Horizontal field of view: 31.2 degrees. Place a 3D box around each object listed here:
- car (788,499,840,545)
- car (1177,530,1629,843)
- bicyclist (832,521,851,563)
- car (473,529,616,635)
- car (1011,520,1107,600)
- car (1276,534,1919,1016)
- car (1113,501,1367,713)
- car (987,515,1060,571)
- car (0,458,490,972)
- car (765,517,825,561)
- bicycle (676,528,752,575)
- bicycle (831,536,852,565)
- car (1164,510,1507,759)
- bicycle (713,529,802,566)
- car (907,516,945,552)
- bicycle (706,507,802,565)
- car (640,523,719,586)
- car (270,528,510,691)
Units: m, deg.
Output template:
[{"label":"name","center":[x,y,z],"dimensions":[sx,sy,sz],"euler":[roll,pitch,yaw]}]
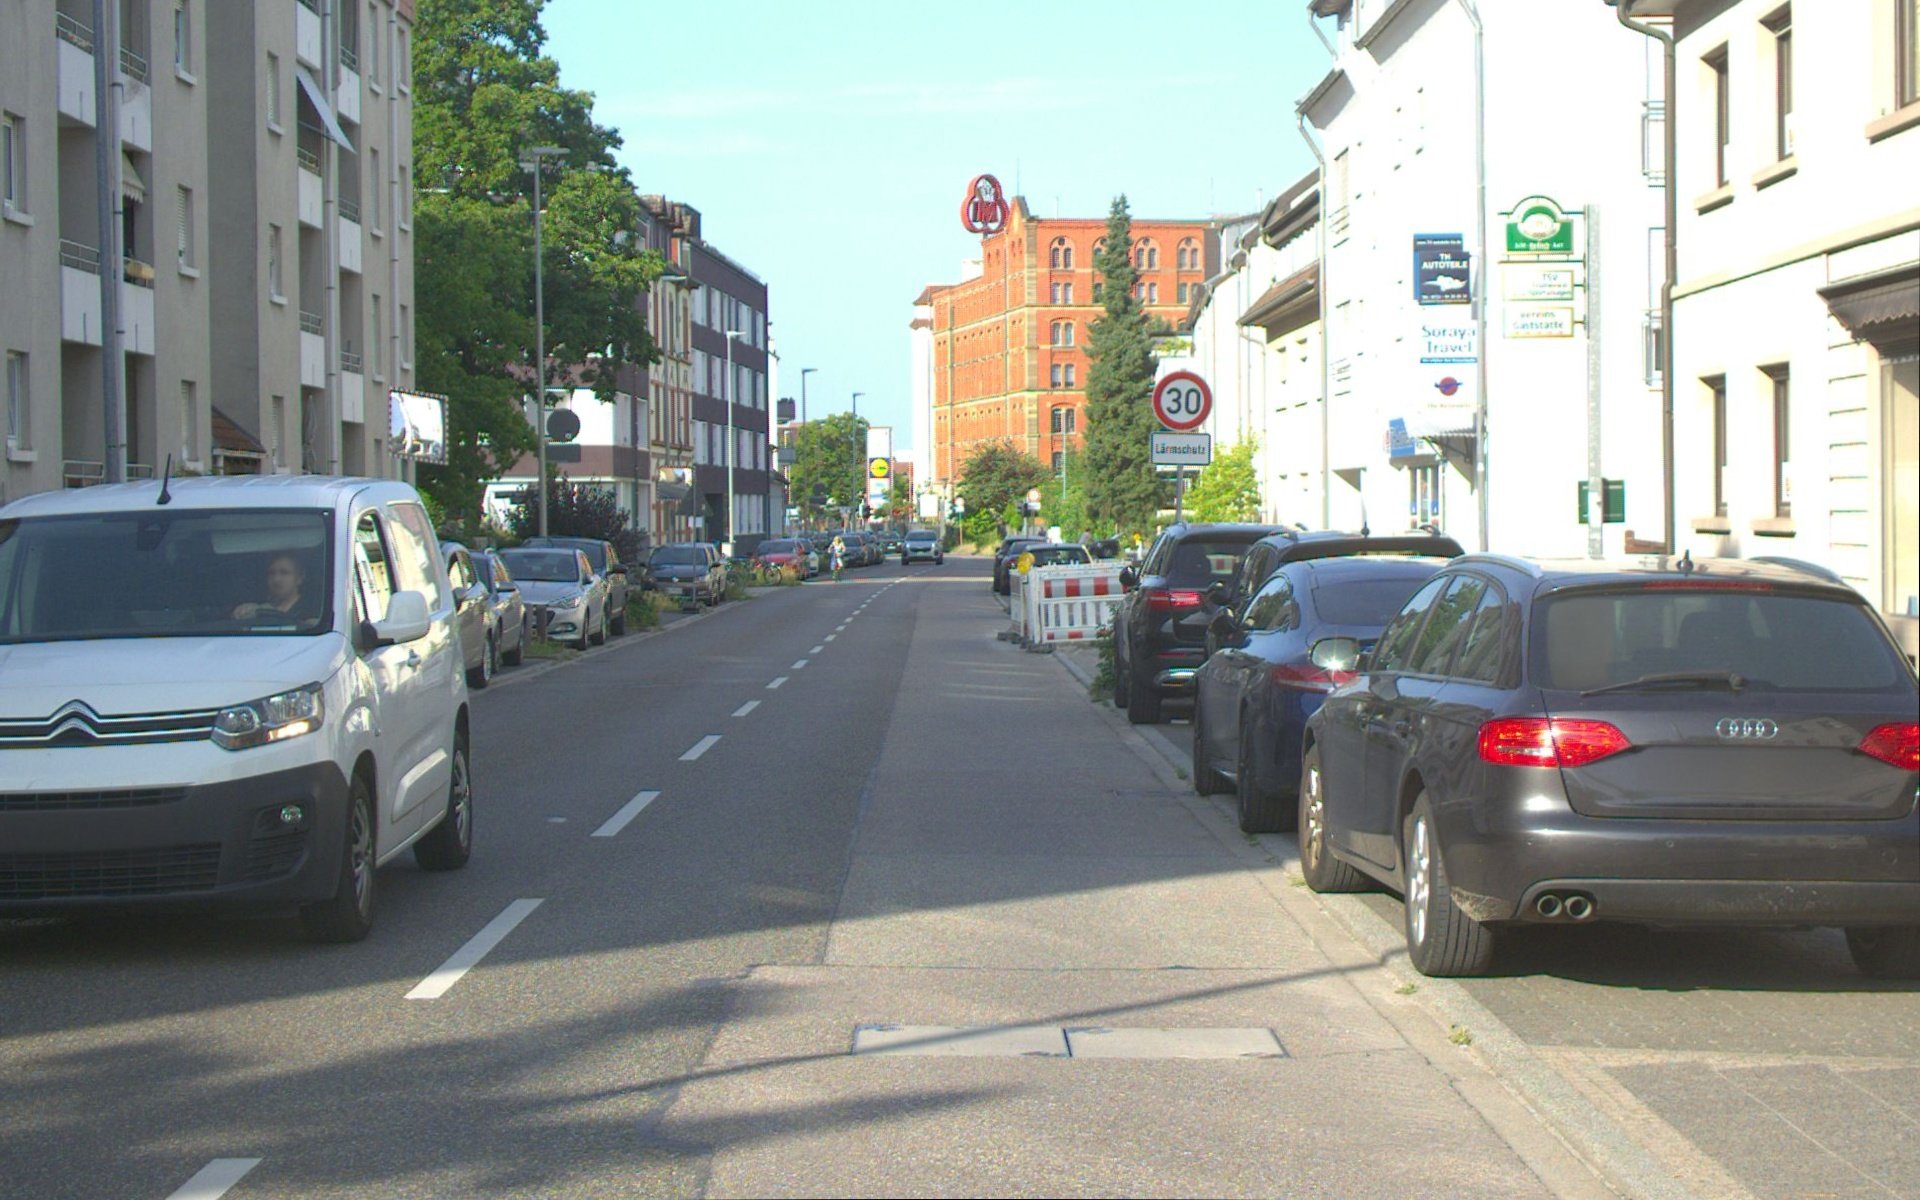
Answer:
[{"label":"car","center":[-6.137,-3.306,145.019],"dimensions":[1.993,1.875,4.000],"euler":[-1,2,0]},{"label":"car","center":[2.258,0.366,18.674],"dimensions":[1.830,1.415,4.609],"euler":[-1,2,0]},{"label":"bicyclist","center":[-4.025,-1.978,116.936],"dimensions":[0.591,1.437,0.750],"euler":[-1,1,1]},{"label":"car","center":[-6.052,-0.296,50.404],"dimensions":[1.686,1.449,4.141],"euler":[0,2,-1]},{"label":"car","center":[1.955,-0.827,68.860],"dimensions":[1.830,1.477,3.943],"euler":[-2,2,1]},{"label":"car","center":[2.336,0.497,12.878],"dimensions":[1.779,1.415,4.497],"euler":[-1,2,-1]},{"label":"car","center":[2.295,0.057,29.218],"dimensions":[1.830,1.624,4.463],"euler":[1,0,1]},{"label":"car","center":[1.688,-1.559,93.010],"dimensions":[1.859,1.467,4.000],"euler":[1,2,0]},{"label":"car","center":[-3.159,0.347,14.100],"dimensions":[1.922,1.761,4.338],"euler":[-1,2,-1]},{"label":"car","center":[-5.684,-2.122,118.590],"dimensions":[1.840,1.459,3.585],"euler":[-1,2,0]},{"label":"bicycle","center":[-6.583,-1.296,91.983],"dimensions":[2.000,1.213,0.708],"euler":[-1,1,-5]},{"label":"bicycle","center":[-4.028,-1.683,116.918],"dimensions":[0.608,0.939,1.811],"euler":[-1,1,1]},{"label":"car","center":[2.559,0.167,24.423],"dimensions":[1.830,1.554,4.318],"euler":[-2,1,-1]},{"label":"bicycle","center":[-6.504,-1.689,110.554],"dimensions":[2.773,1.140,1.143],"euler":[-1,1,1]},{"label":"car","center":[-1.594,-3.146,162.345],"dimensions":[1.763,1.610,4.000],"euler":[-2,2,0]},{"label":"bicycle","center":[-6.514,-2.031,108.773],"dimensions":[2.918,1.771,1.202],"euler":[-1,1,1]},{"label":"car","center":[-6.519,-1.075,80.104],"dimensions":[1.573,1.415,3.804],"euler":[0,2,-1]},{"label":"car","center":[-5.817,0.052,35.512],"dimensions":[1.727,1.550,3.965],"euler":[0,2,1]}]
